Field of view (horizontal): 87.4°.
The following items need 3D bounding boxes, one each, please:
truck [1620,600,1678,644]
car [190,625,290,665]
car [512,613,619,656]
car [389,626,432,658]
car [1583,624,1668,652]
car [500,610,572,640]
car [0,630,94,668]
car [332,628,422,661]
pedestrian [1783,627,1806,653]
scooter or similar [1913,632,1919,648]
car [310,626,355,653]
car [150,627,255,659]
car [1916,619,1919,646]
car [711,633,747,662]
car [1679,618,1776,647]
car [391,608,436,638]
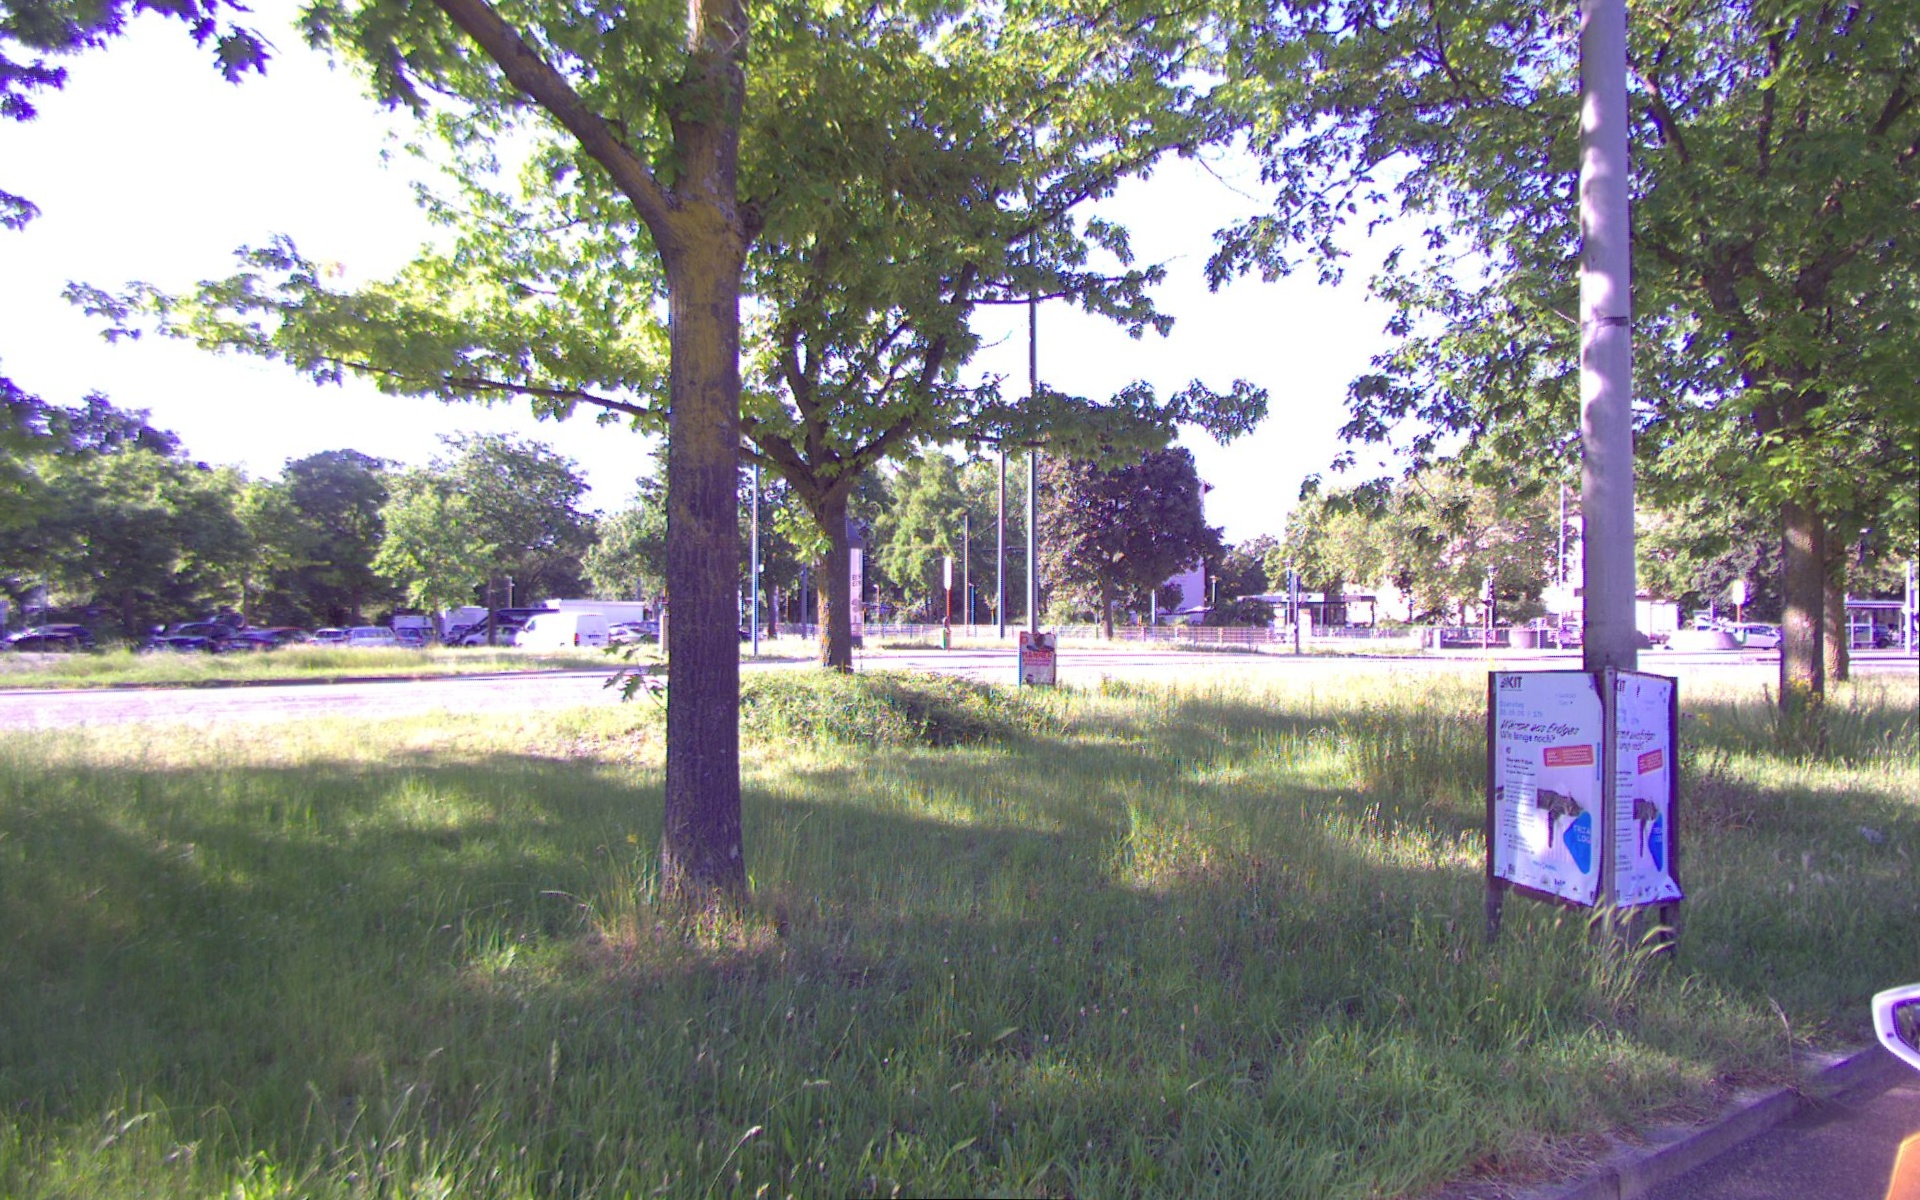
[{"bbox_3d":[46.639,1.472,68.092,1.960,2.842,4.002,0,-1,15],"label":"truck"},{"bbox_3d":[-25.234,1.558,35.245,2.769,1.323,1.326,1,-1,-40],"label":"car"},{"bbox_3d":[-17.219,1.469,43.801,4.670,1.762,2.024,0,-1,34],"label":"car"},{"bbox_3d":[-26.703,2.023,48.779,1.602,1.438,3.050,1,-1,-33],"label":"car"},{"bbox_3d":[41.415,2.345,62.567,3.919,1.706,2.001,0,-1,9],"label":"car"},{"bbox_3d":[-24.132,1.407,57.290,3.698,1.691,1.883,1,-1,-23],"label":"car"},{"bbox_3d":[-47.661,2.490,51.904,1.966,1.817,3.990,0,-1,32],"label":"car"},{"bbox_3d":[-21.827,1.629,37.635,2.769,1.171,1.326,1,-1,-40],"label":"car"},{"bbox_3d":[53.721,2.550,64.653,0.781,1.629,0.923,0,-1,9],"label":"pedestrian"},{"bbox_3d":[56.806,2.367,59.365,0.524,0.939,0.421,0,-1,-4],"label":"scooter or similar"},{"bbox_3d":[-29.296,1.819,46.865,1.603,1.194,3.047,1,-1,-35],"label":"car"},{"bbox_3d":[-26.844,1.499,35.629,1.315,1.078,2.777,0,-1,42],"label":"car"},{"bbox_3d":[72.325,2.381,72.726,1.910,2.040,4.155,1,-1,-31],"label":"car"},{"bbox_3d":[-12.032,2.448,52.488,1.589,1.438,3.073,0,-1,-8],"label":"car"},{"bbox_3d":[46.905,1.959,61.467,4.233,1.706,2.001,0,-1,9],"label":"car"},{"bbox_3d":[-32.490,1.359,59.786,1.865,1.691,3.733,1,-1,-22],"label":"car"}]
